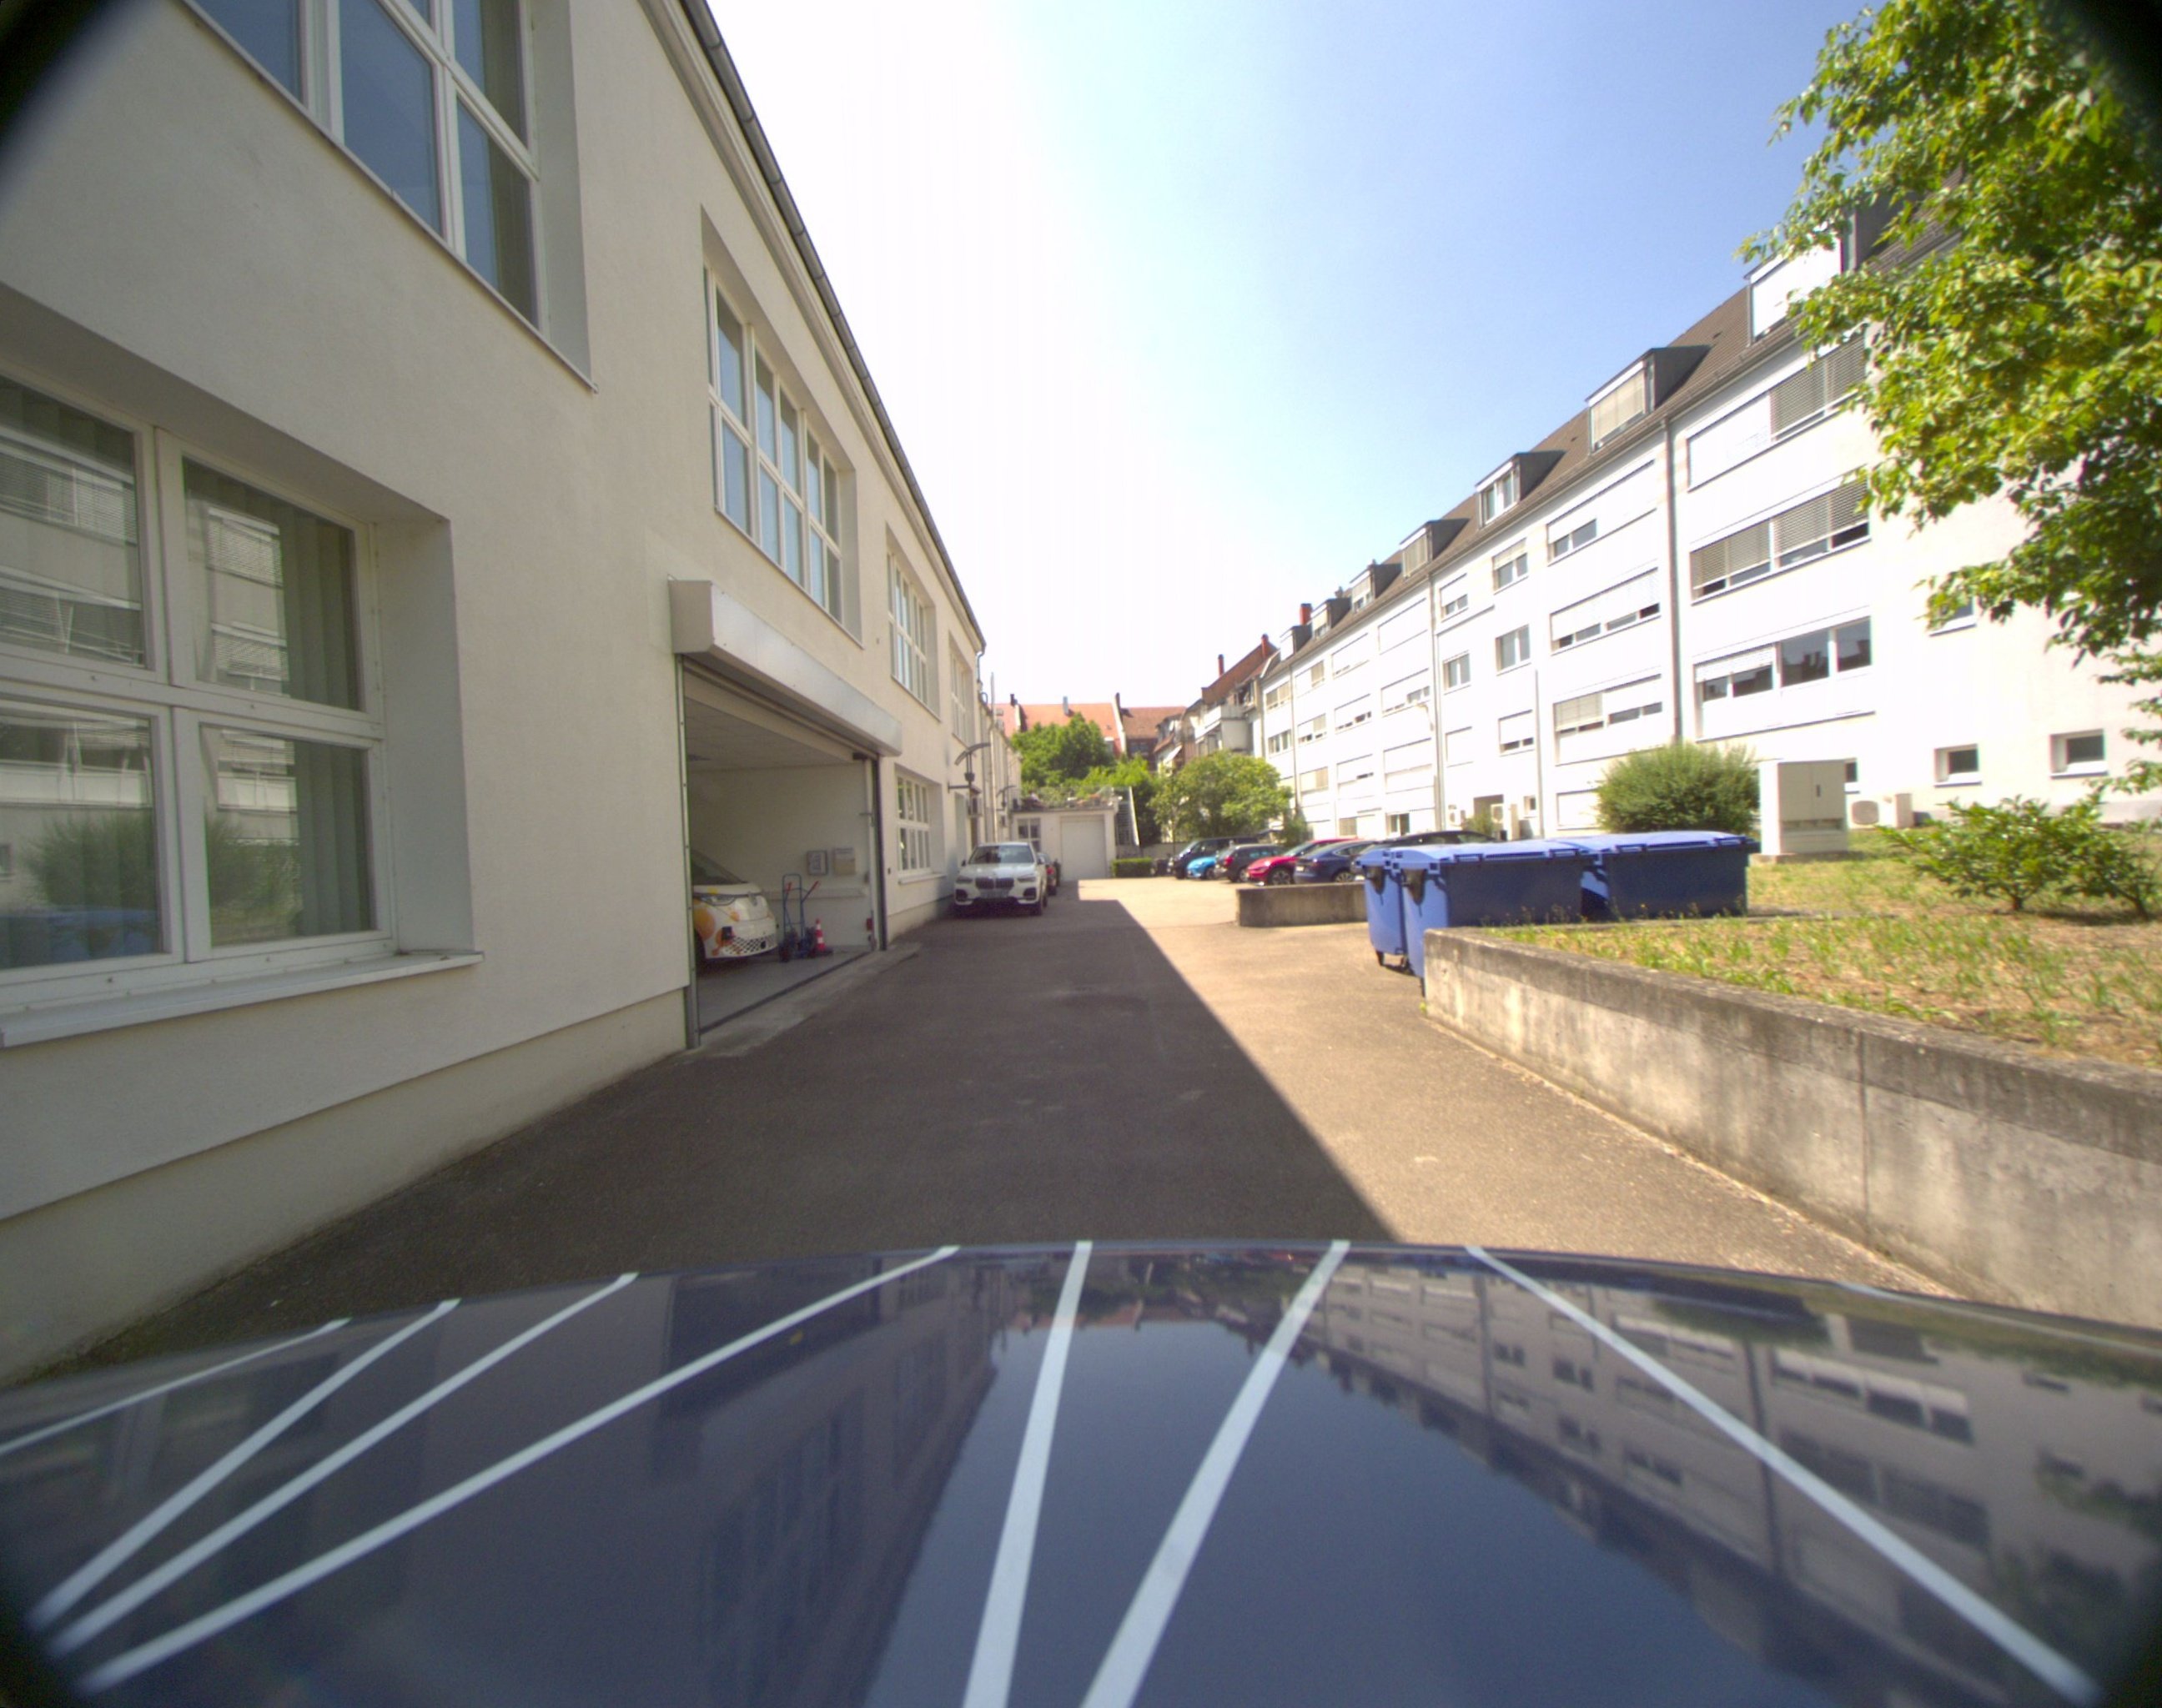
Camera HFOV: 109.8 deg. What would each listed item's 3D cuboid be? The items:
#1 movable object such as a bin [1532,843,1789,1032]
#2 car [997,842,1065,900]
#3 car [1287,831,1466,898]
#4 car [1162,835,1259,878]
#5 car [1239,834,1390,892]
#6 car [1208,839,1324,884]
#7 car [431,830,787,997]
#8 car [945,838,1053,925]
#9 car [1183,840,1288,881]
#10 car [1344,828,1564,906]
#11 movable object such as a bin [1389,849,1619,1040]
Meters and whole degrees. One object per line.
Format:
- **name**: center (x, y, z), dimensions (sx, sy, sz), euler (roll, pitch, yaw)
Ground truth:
- **movable object such as a bin**: center (4.715, 0.625, 6.301), dimensions (1.271, 1.380, 1.095), euler (-2, 1, 0)
- **car**: center (-1.710, 0.517, 27.374), dimensions (2.011, 1.793, 4.726), euler (-2, 1, 1)
- **car**: center (7.968, 0.261, 20.679), dimensions (4.223, 1.560, 1.612), euler (-3, 1, -5)
- **car**: center (6.188, 0.109, 36.599), dimensions (4.223, 1.813, 2.008), euler (-3, 1, -5)
- **car**: center (7.327, 0.258, 23.987), dimensions (4.223, 1.560, 1.612), euler (-3, 1, -5)
- **car**: center (7.397, 0.282, 30.604), dimensions (4.223, 1.560, 1.612), euler (-3, 1, -5)
- **car**: center (-6.365, 0.753, 10.515), dimensions (3.836, 2.002, 1.654), euler (-2, 1, 4)
- **car**: center (-1.838, 0.541, 18.571), dimensions (2.011, 1.793, 4.726), euler (-2, 1, 1)
- **car**: center (6.800, 0.267, 33.664), dimensions (4.223, 1.560, 1.612), euler (-3, 1, -5)
- **car**: center (8.742, 0.281, 17.970), dimensions (4.445, 1.560, 1.612), euler (-3, 1, -5)
- **movable object such as a bin**: center (3.417, 0.681, 6.284), dimensions (1.271, 1.380, 1.095), euler (-2, 1, 0)
